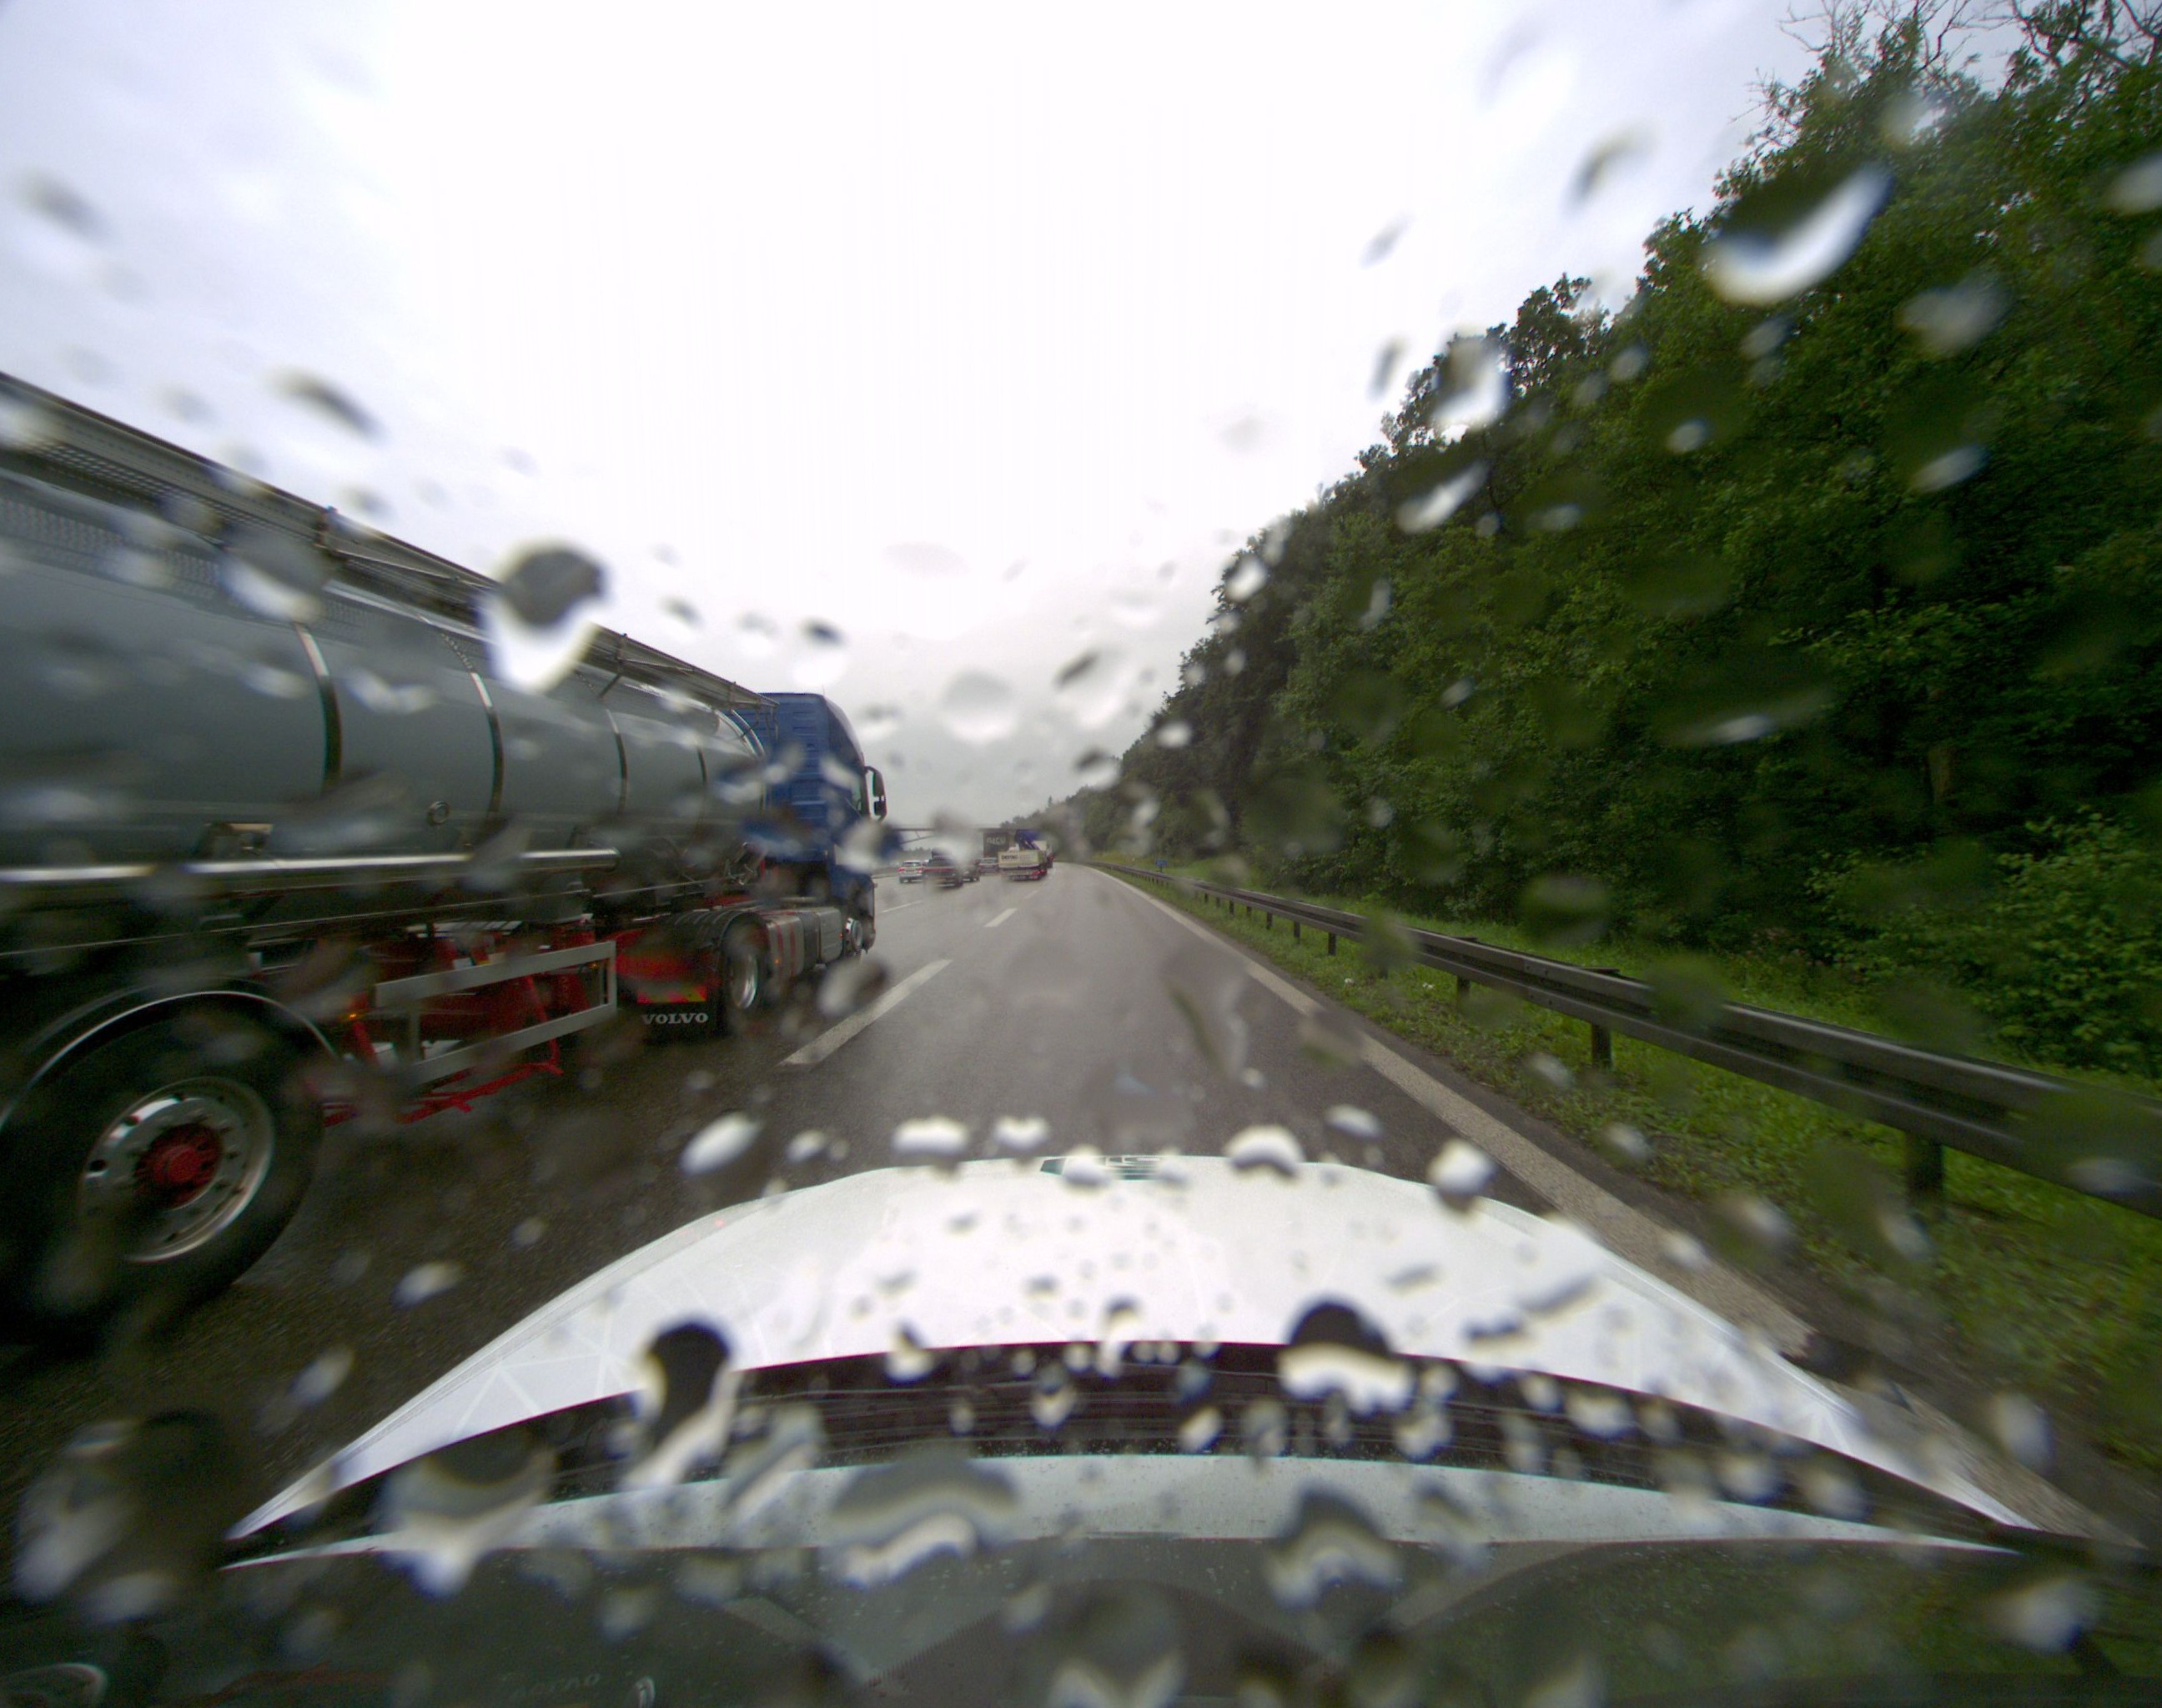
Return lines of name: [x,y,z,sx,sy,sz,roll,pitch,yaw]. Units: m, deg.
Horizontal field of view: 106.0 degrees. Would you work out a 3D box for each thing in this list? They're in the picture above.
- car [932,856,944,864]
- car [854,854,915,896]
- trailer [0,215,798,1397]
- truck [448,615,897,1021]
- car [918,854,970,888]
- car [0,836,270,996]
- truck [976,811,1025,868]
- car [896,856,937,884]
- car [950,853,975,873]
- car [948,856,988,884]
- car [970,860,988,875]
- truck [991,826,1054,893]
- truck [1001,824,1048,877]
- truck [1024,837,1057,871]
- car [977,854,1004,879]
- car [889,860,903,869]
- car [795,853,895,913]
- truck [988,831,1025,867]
car: [-32.593,1.296,186.065,1.987,1.830,3.999,-1,0,0]
car: [-9.355,1.003,39.038,1.791,1.838,4.000,2,-2,1]
trailer: [-4.425,-0.124,3.314,2.864,3.289,10.078,-1,0,1]
truck: [-4.341,-0.337,10.046,2.867,3.693,5.057,-1,0,1]
car: [-7.233,0.928,43.246,1.987,1.636,3.999,2,-2,0]
car: [-11.751,0.644,8.337,1.986,1.594,4.808,-1,0,1]
truck: [-8.337,-1.351,86.211,3.741,5.500,10.172,2,-2,1]
car: [-11.106,1.129,55.103,1.779,1.747,4.001,2,-2,2]
car: [-11.639,0.927,80.092,1.838,1.860,3.998,2,-2,0]
car: [-7.228,1.005,52.367,1.931,1.662,4.000,-1,0,0]
car: [-12.699,1.698,101.588,1.847,1.663,3.996,2,-2,-2]
truck: [-3.868,0.367,56.673,3.589,4.105,11.554,-1,0,-1]
truck: [-4.841,-0.117,72.452,3.497,4.268,10.596,2,-2,-1]
truck: [-5.145,0.146,105.451,3.743,3.971,11.054,2,-2,-1]
car: [-7.734,1.087,69.971,1.787,2.014,4.000,2,-2,1]
car: [-37.957,2.065,167.321,1.987,1.784,3.999,-1,0,0]
car: [-7.713,0.889,27.106,1.839,1.751,4.568,-2,0,1]
truck: [-9.383,-0.553,104.263,3.564,4.096,10.879,-1,-2,1]
